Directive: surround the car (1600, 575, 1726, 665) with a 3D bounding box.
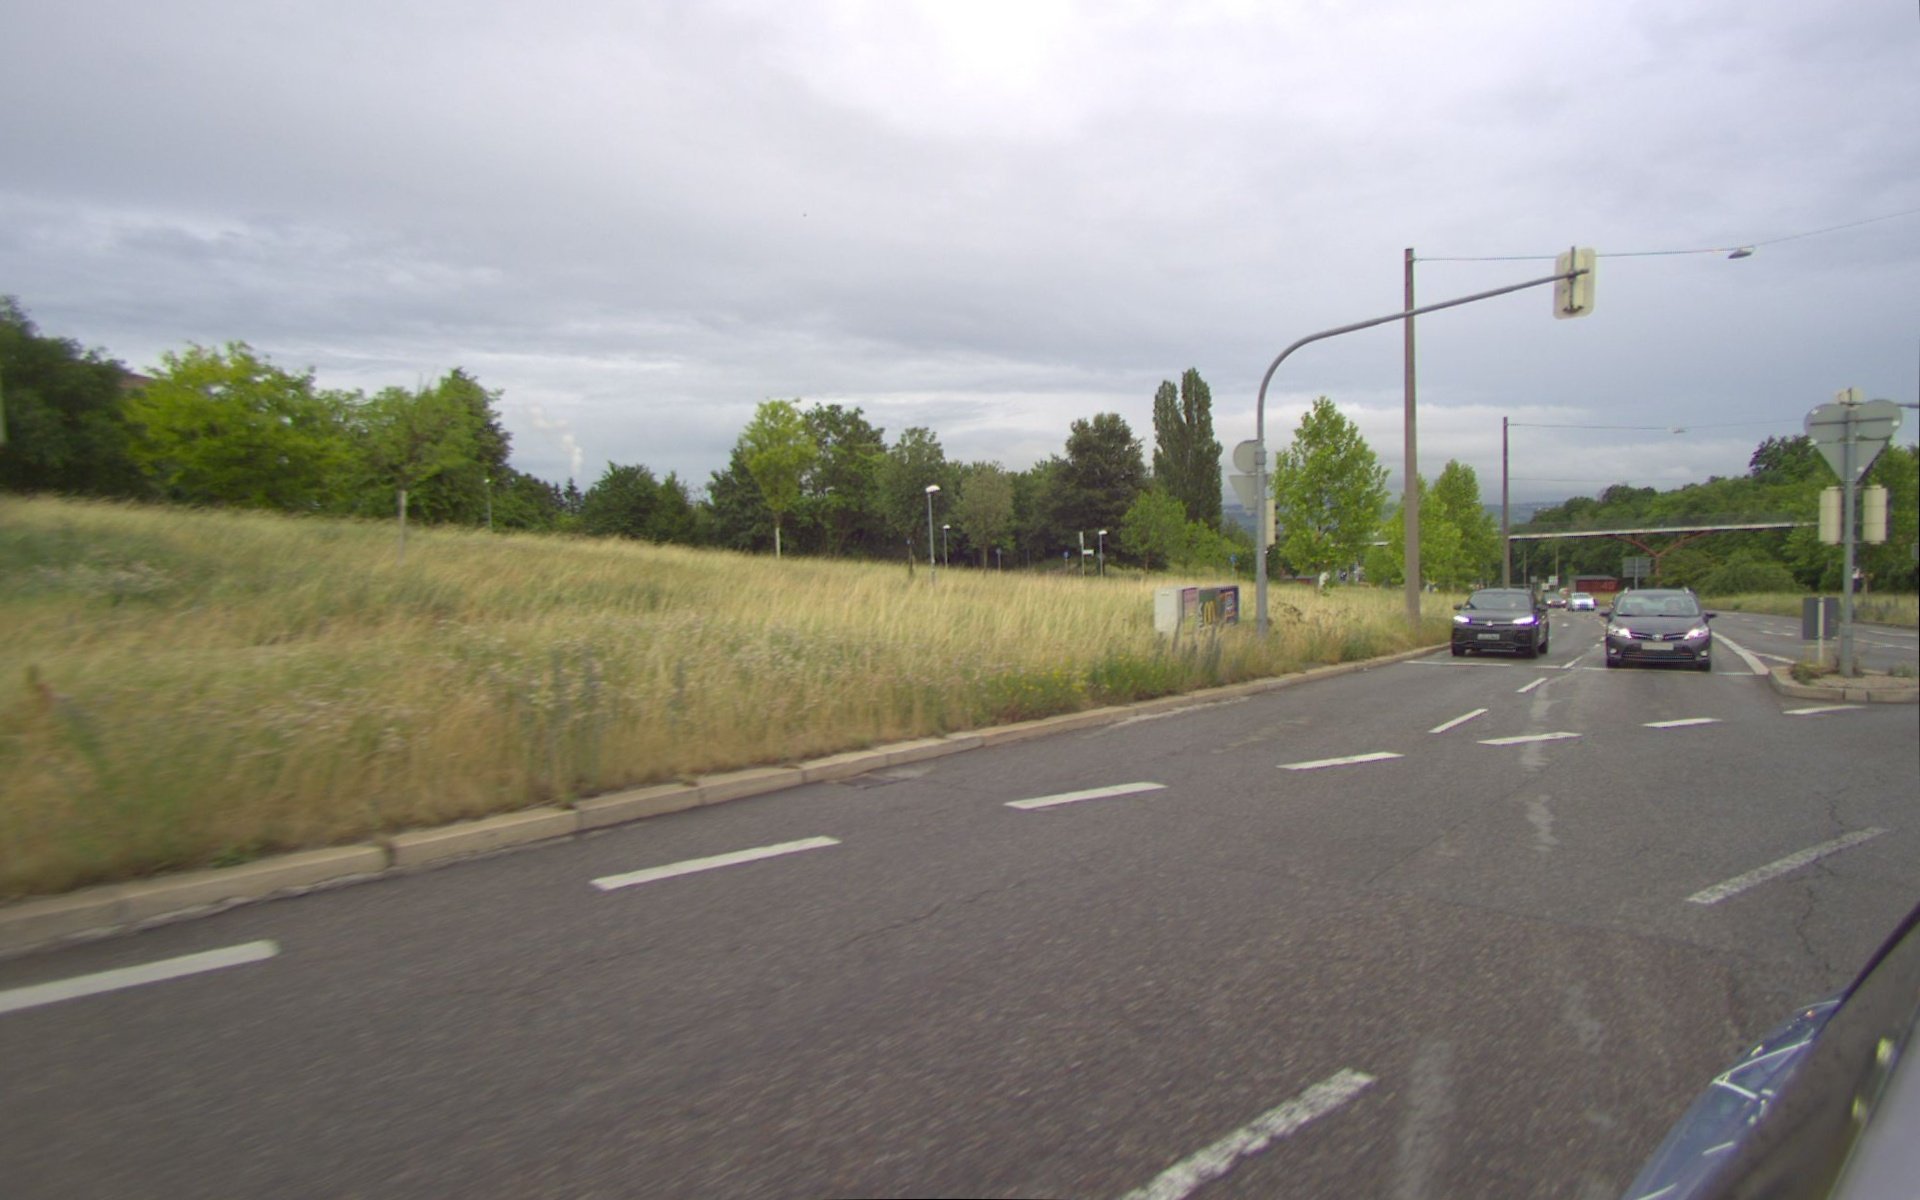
[{"bbox_3d":[14.860,0.338,21.430,1.987,1.663,4.570,-1,1,35],"label":"car"}]

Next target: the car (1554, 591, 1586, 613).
[{"bbox_3d":[57.343,0.181,95.220,1.977,2.039,3.970,0,1,23],"label":"car"}]

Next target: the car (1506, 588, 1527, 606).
[{"bbox_3d":[64.060,-0.396,116.531,1.982,2.039,3.961,0,1,28],"label":"car"}]

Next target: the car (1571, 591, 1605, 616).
[{"bbox_3d":[51.561,0.269,83.142,1.819,1.972,3.966,-1,0,25],"label":"car"}]

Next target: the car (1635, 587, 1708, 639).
[{"bbox_3d":[21.899,0.343,31.179,1.737,1.445,3.950,1,1,35],"label":"car"}]

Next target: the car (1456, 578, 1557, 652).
[{"bbox_3d":[13.558,0.318,24.990,1.710,1.663,3.839,-2,0,35],"label":"car"}]
